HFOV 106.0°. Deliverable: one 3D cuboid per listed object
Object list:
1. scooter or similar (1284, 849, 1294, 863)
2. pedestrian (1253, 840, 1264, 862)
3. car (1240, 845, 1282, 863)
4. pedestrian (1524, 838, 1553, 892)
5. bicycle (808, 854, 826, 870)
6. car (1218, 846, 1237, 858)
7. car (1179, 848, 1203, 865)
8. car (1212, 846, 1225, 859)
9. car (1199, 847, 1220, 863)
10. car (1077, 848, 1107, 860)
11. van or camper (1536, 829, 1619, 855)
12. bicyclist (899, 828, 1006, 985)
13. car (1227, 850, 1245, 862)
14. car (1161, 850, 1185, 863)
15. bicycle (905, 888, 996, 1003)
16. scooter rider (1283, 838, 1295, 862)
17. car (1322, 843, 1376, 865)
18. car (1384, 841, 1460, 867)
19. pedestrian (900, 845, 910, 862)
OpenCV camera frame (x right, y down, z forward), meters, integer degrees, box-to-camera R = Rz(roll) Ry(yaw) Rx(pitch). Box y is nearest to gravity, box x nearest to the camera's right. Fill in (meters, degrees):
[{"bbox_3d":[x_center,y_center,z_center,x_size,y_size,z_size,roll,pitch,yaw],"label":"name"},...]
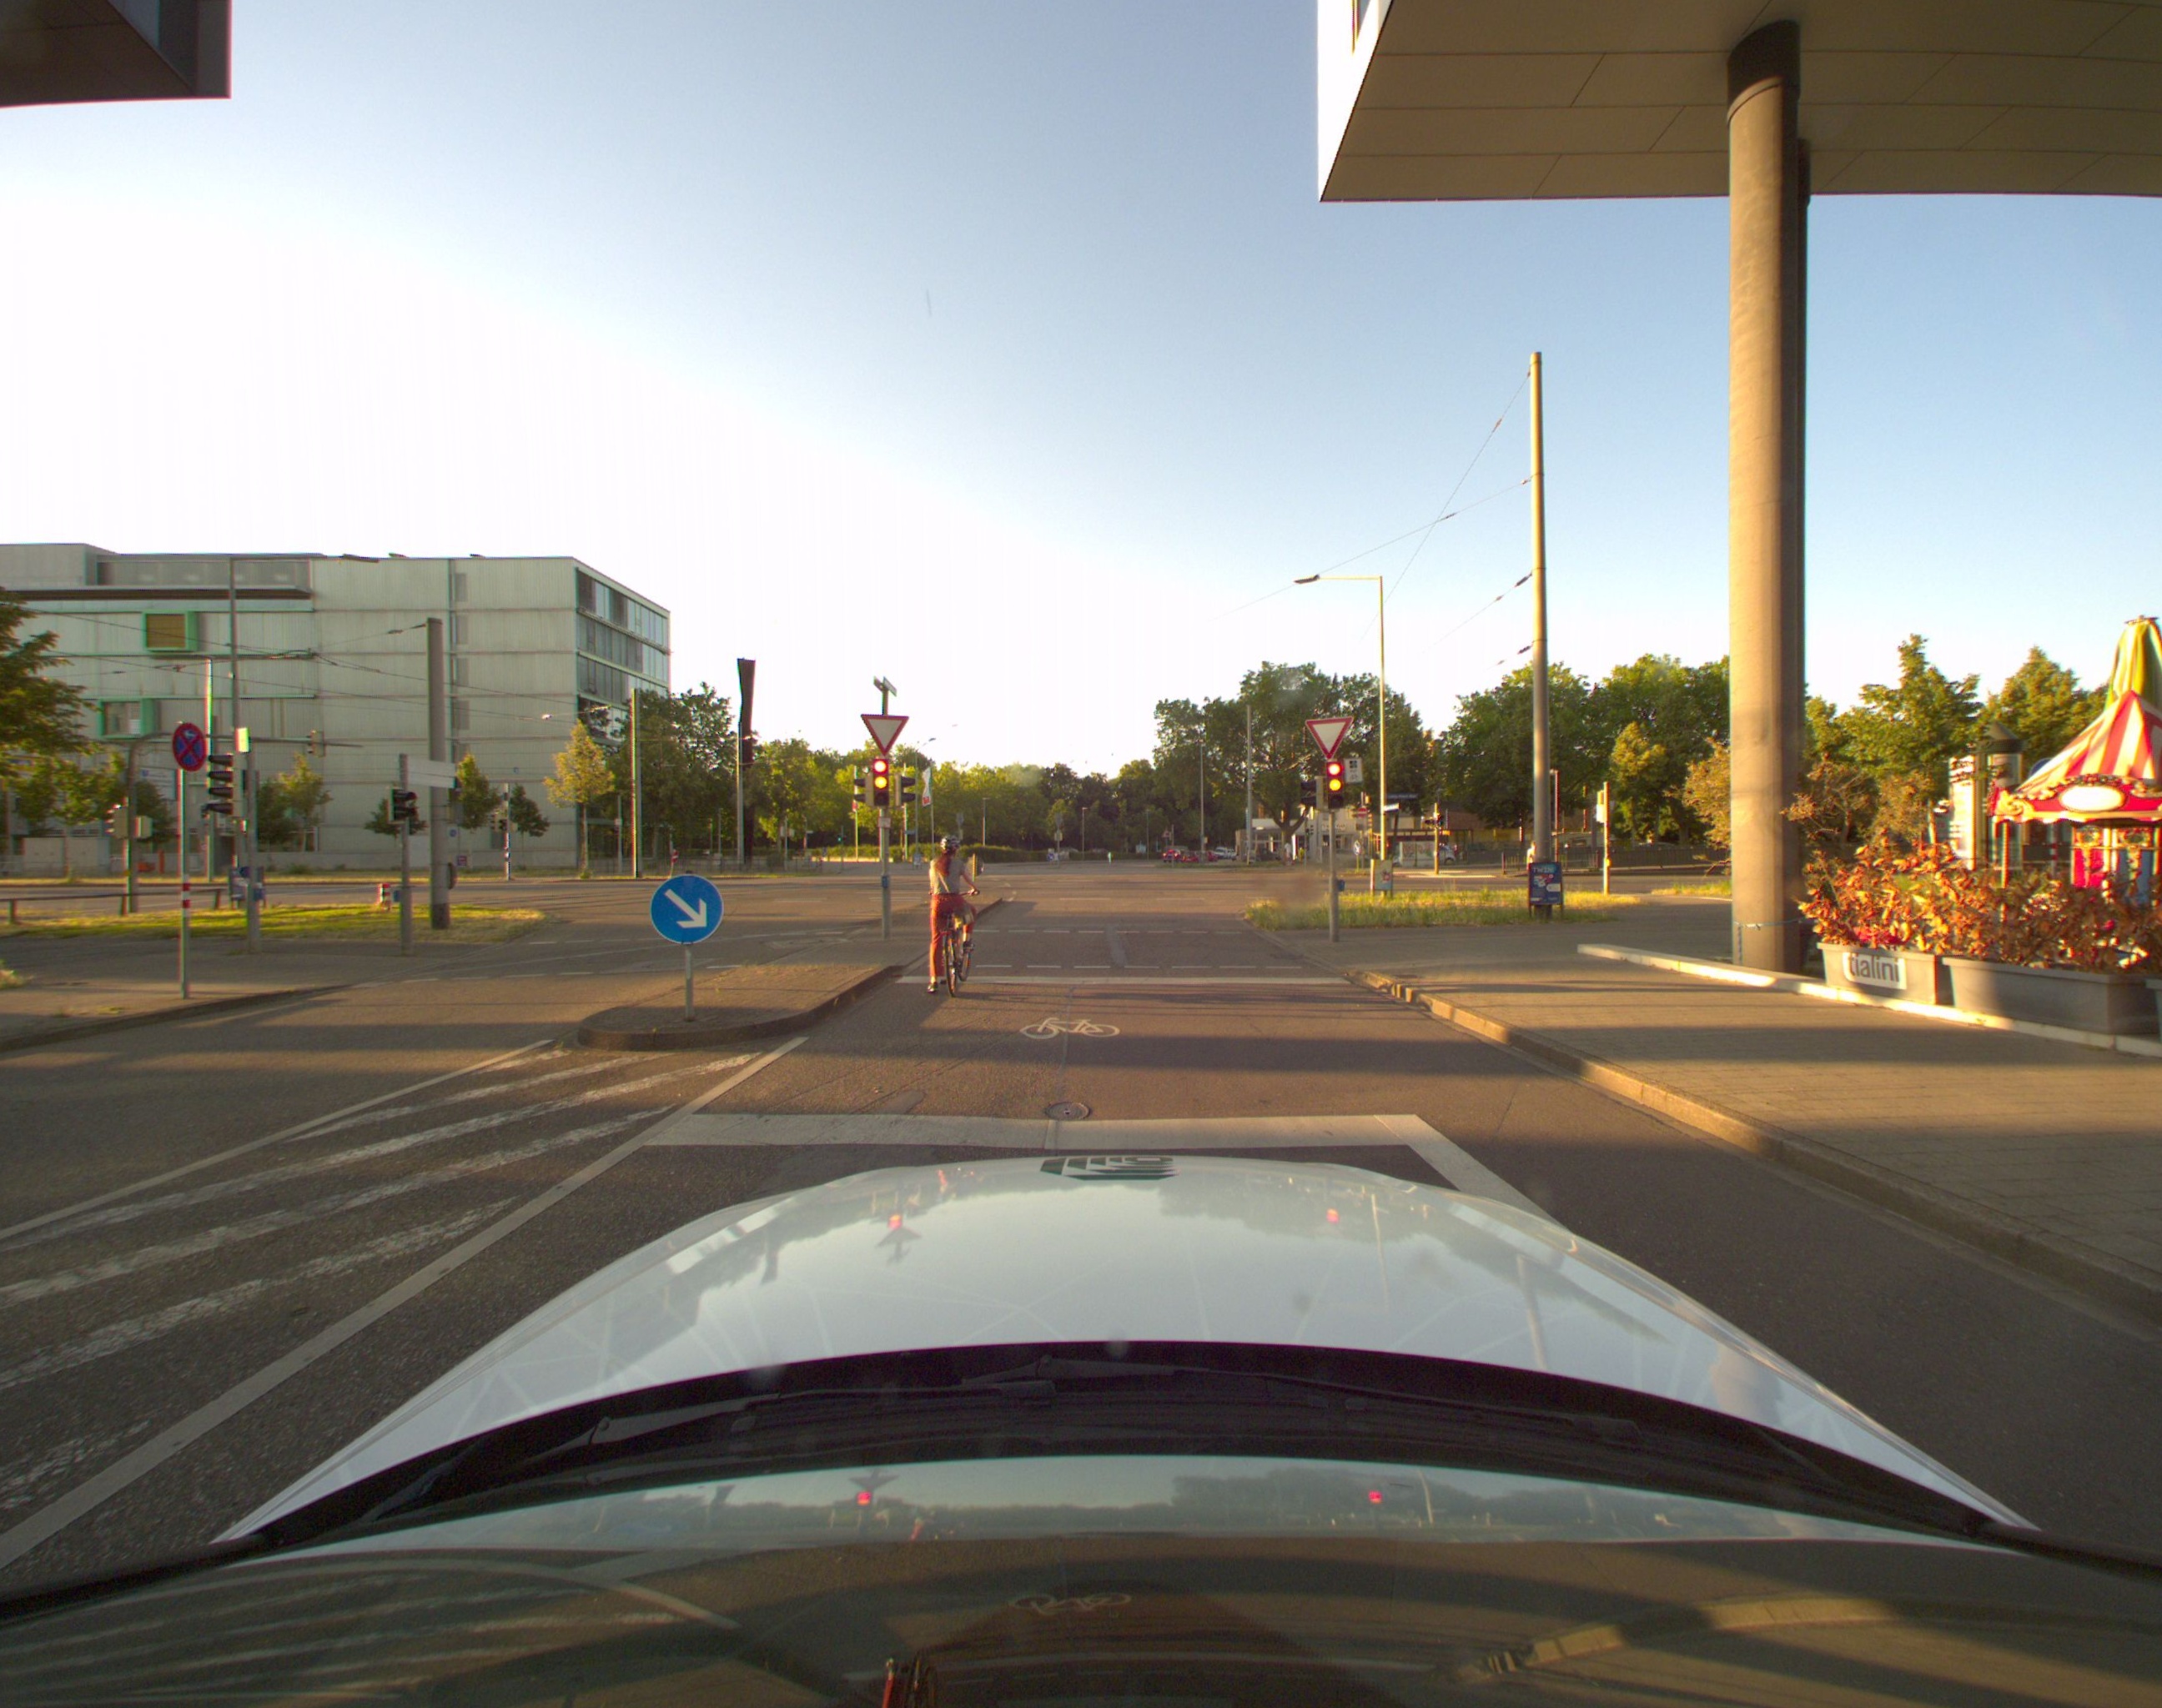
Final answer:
[{"bbox_3d":[16.029,0.130,62.761,0.508,1.090,1.243,-1,0,2],"label":"scooter or similar"},{"bbox_3d":[14.725,-0.239,67.589,0.712,1.754,0.903,-1,0,26],"label":"pedestrian"},{"bbox_3d":[19.591,0.014,88.682,4.354,1.835,1.952,-1,0,6],"label":"car"},{"bbox_3d":[15.332,0.362,27.316,0.755,1.791,0.806,0,0,23],"label":"pedestrian"},{"bbox_3d":[-20.716,0.616,63.910,0.697,1.136,2.392,-1,0,-1],"label":"bicycle"},{"bbox_3d":[24.375,-0.300,135.336,1.975,2.013,4.024,-1,0,27],"label":"car"},{"bbox_3d":[12.929,0.269,95.582,1.852,1.874,3.896,0,0,23],"label":"car"},{"bbox_3d":[22.086,-0.319,130.871,1.982,2.013,4.010,-1,0,9],"label":"car"},{"bbox_3d":[16.262,0.095,103.123,1.899,2.047,4.020,0,0,20],"label":"car"},{"bbox_3d":[1.494,-0.009,109.694,3.970,1.561,2.002,-1,0,3],"label":"car"},{"bbox_3d":[47.935,-1.106,78.765,6.530,2.410,2.268,0,0,6],"label":"van or camper"},{"bbox_3d":[-1.454,0.571,9.422,1.028,1.717,0.996,-1,0,1],"label":"bicyclist"},{"bbox_3d":[21.992,0.232,115.188,1.899,1.602,4.020,0,0,20],"label":"car"},{"bbox_3d":[11.319,0.274,100.025,1.740,1.541,4.424,-1,-1,22],"label":"car"},{"bbox_3d":[-1.446,0.983,9.407,0.632,1.068,2.123,-1,0,2],"label":"bicycle"},{"bbox_3d":[16.017,-0.294,62.695,0.699,1.855,0.669,0,-1,1],"label":"scooter rider"},{"bbox_3d":[23.664,-0.025,72.082,4.211,1.846,2.002,-1,0,4],"label":"car"},{"bbox_3d":[23.661,-0.017,56.518,4.523,1.728,1.860,-1,0,-3],"label":"car"},{"bbox_3d":[-18.319,-0.103,84.641,0.898,1.754,0.715,-1,0,-24],"label":"pedestrian"}]
